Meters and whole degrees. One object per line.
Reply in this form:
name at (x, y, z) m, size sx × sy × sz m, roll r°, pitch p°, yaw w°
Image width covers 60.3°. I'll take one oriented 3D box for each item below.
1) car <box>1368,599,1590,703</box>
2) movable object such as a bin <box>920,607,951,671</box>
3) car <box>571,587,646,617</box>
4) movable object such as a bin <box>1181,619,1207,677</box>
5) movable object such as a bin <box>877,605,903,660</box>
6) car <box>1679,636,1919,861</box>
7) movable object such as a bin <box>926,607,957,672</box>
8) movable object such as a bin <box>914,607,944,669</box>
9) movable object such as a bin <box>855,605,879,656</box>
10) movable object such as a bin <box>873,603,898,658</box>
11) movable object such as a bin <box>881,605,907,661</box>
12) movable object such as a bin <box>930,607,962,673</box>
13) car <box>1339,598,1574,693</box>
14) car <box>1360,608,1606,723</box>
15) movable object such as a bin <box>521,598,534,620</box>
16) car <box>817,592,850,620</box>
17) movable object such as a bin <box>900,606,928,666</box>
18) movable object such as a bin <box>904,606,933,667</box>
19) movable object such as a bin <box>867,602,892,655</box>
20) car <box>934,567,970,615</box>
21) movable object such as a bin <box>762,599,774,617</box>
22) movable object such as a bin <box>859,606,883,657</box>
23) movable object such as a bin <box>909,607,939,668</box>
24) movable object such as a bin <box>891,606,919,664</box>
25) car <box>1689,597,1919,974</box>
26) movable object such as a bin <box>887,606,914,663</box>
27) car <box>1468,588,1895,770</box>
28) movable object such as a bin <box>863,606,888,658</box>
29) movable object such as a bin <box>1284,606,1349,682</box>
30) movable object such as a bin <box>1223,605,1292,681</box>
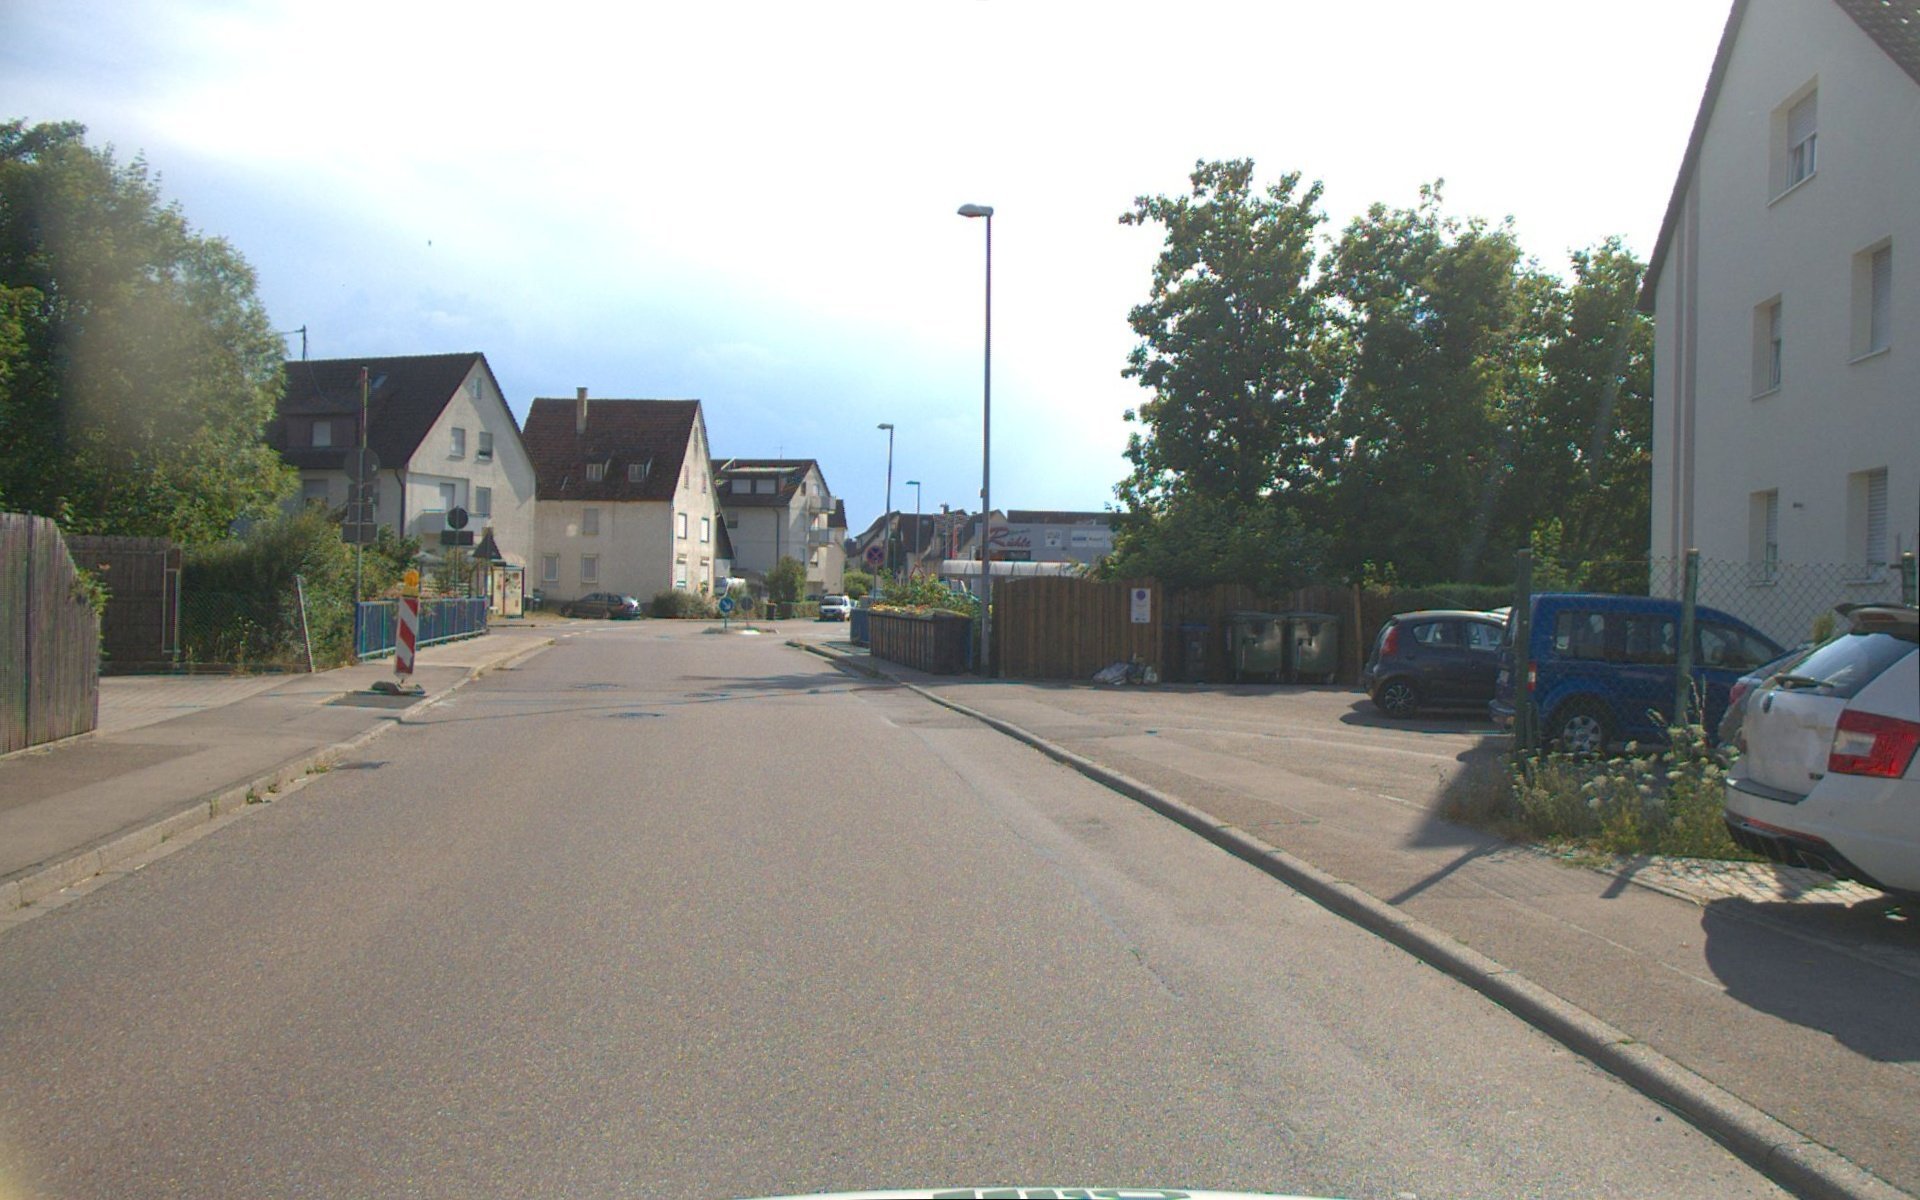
car at (8.066, 0.767, 25.914) m, size 3.060 × 1.476 × 1.578 m, roll 1°, pitch 1°, yaw 7°
movable object such as a bin at (-0.454, 0.710, 30.570) m, size 0.470 × 1.163 × 0.541 m, roll 1°, pitch 0°, yaw -11°
car at (-19.282, 0.102, 90.678) m, size 3.915 × 1.458 × 1.649 m, roll 2°, pitch 0°, yaw 32°
movable object such as a bin at (4.396, 0.902, 31.104) m, size 0.422 × 1.063 × 0.442 m, roll 1°, pitch 0°, yaw 3°
movable object such as a bin at (-1.499, 0.688, 35.293) m, size 0.470 × 1.163 × 0.537 m, roll 1°, pitch 0°, yaw -11°
car at (7.613, 1.142, 12.124) m, size 1.672 × 1.545 × 4.244 m, roll 4°, pitch -2°, yaw -24°
movable object such as a bin at (-0.341, 0.710, 30.009) m, size 0.470 × 1.163 × 0.537 m, roll 1°, pitch 0°, yaw -11°
movable object such as a bin at (-0.581, 0.710, 31.203) m, size 0.470 × 1.163 × 0.537 m, roll 1°, pitch 0°, yaw -11°
movable object such as a bin at (-2.158, 0.713, 38.278) m, size 0.470 × 1.163 × 0.537 m, roll 1°, pitch 0°, yaw -11°
movable object such as a bin at (-1.619, 0.657, 35.886) m, size 0.470 × 1.163 × 0.537 m, roll 1°, pitch 0°, yaw -11°
movable object such as a bin at (-1.381, 0.695, 34.680) m, size 0.470 × 1.163 × 0.537 m, roll 1°, pitch 0°, yaw -11°
movable object such as a bin at (-0.251, 0.709, 29.459) m, size 0.470 × 1.163 × 0.537 m, roll 1°, pitch 0°, yaw -11°
car at (8.529, 0.757, 28.671) m, size 3.664 × 1.476 × 1.637 m, roll 1°, pitch 1°, yaw 7°
car at (7.423, 0.898, 23.736) m, size 3.140 × 1.476 × 1.651 m, roll 1°, pitch 1°, yaw 9°
movable object such as a bin at (-21.331, 0.444, 81.530) m, size 0.353 × 1.059 × 0.558 m, roll 1°, pitch -2°, yaw 21°
car at (-8.841, 0.400, 116.105) m, size 1.680 × 1.905 × 4.194 m, roll 0°, pitch 0°, yaw 5°
movable object such as a bin at (-0.919, 0.712, 32.905) m, size 0.470 × 1.163 × 0.537 m, roll 1°, pitch 0°, yaw -11°
movable object such as a bin at (-0.819, 0.710, 32.327) m, size 0.470 × 1.163 × 0.537 m, roll 1°, pitch 0°, yaw -11°
movable object such as a bin at (-1.781, 0.627, 36.505) m, size 0.470 × 1.163 × 0.537 m, roll 1°, pitch 0°, yaw -11°
car at (-0.396, -0.471, 86.479) m, size 1.798 × 2.416 × 5.178 m, roll 1°, pitch 0°, yaw 0°
movable object such as a bin at (-12.126, 0.496, 104.444) m, size 0.598 × 1.120 × 0.576 m, roll 2°, pitch -1°, yaw 4°
movable object such as a bin at (-2.027, 0.714, 37.674) m, size 0.470 × 1.163 × 0.537 m, roll 1°, pitch 0°, yaw -11°
movable object such as a bin at (-0.696, 0.711, 31.761) m, size 0.470 × 1.163 × 0.537 m, roll 1°, pitch 0°, yaw -11°
movable object such as a bin at (-1.122, 0.711, 33.517) m, size 0.470 × 1.163 × 0.537 m, roll 1°, pitch 0°, yaw -11°
car at (5.702, 0.777, 7.117) m, size 4.369 × 1.483 × 1.732 m, roll 1°, pitch 0°, yaw 9°
movable object such as a bin at (-1.236, 0.711, 34.116) m, size 0.470 × 1.163 × 0.563 m, roll 1°, pitch 0°, yaw -11°
car at (8.128, 0.845, 18.983) m, size 4.111 × 1.818 × 1.769 m, roll 1°, pitch 2°, yaw 7°
movable object such as a bin at (-1.902, 0.712, 37.096) m, size 0.470 × 1.163 × 0.537 m, roll 1°, pitch 0°, yaw -11°
movable object such as a bin at (6.706, 0.816, 31.159) m, size 1.019 × 1.360 × 1.005 m, roll 1°, pitch 0°, yaw 3°
movable object such as a bin at (5.606, 0.798, 31.186) m, size 1.127 × 1.360 × 1.046 m, roll 1°, pitch 0°, yaw 3°
